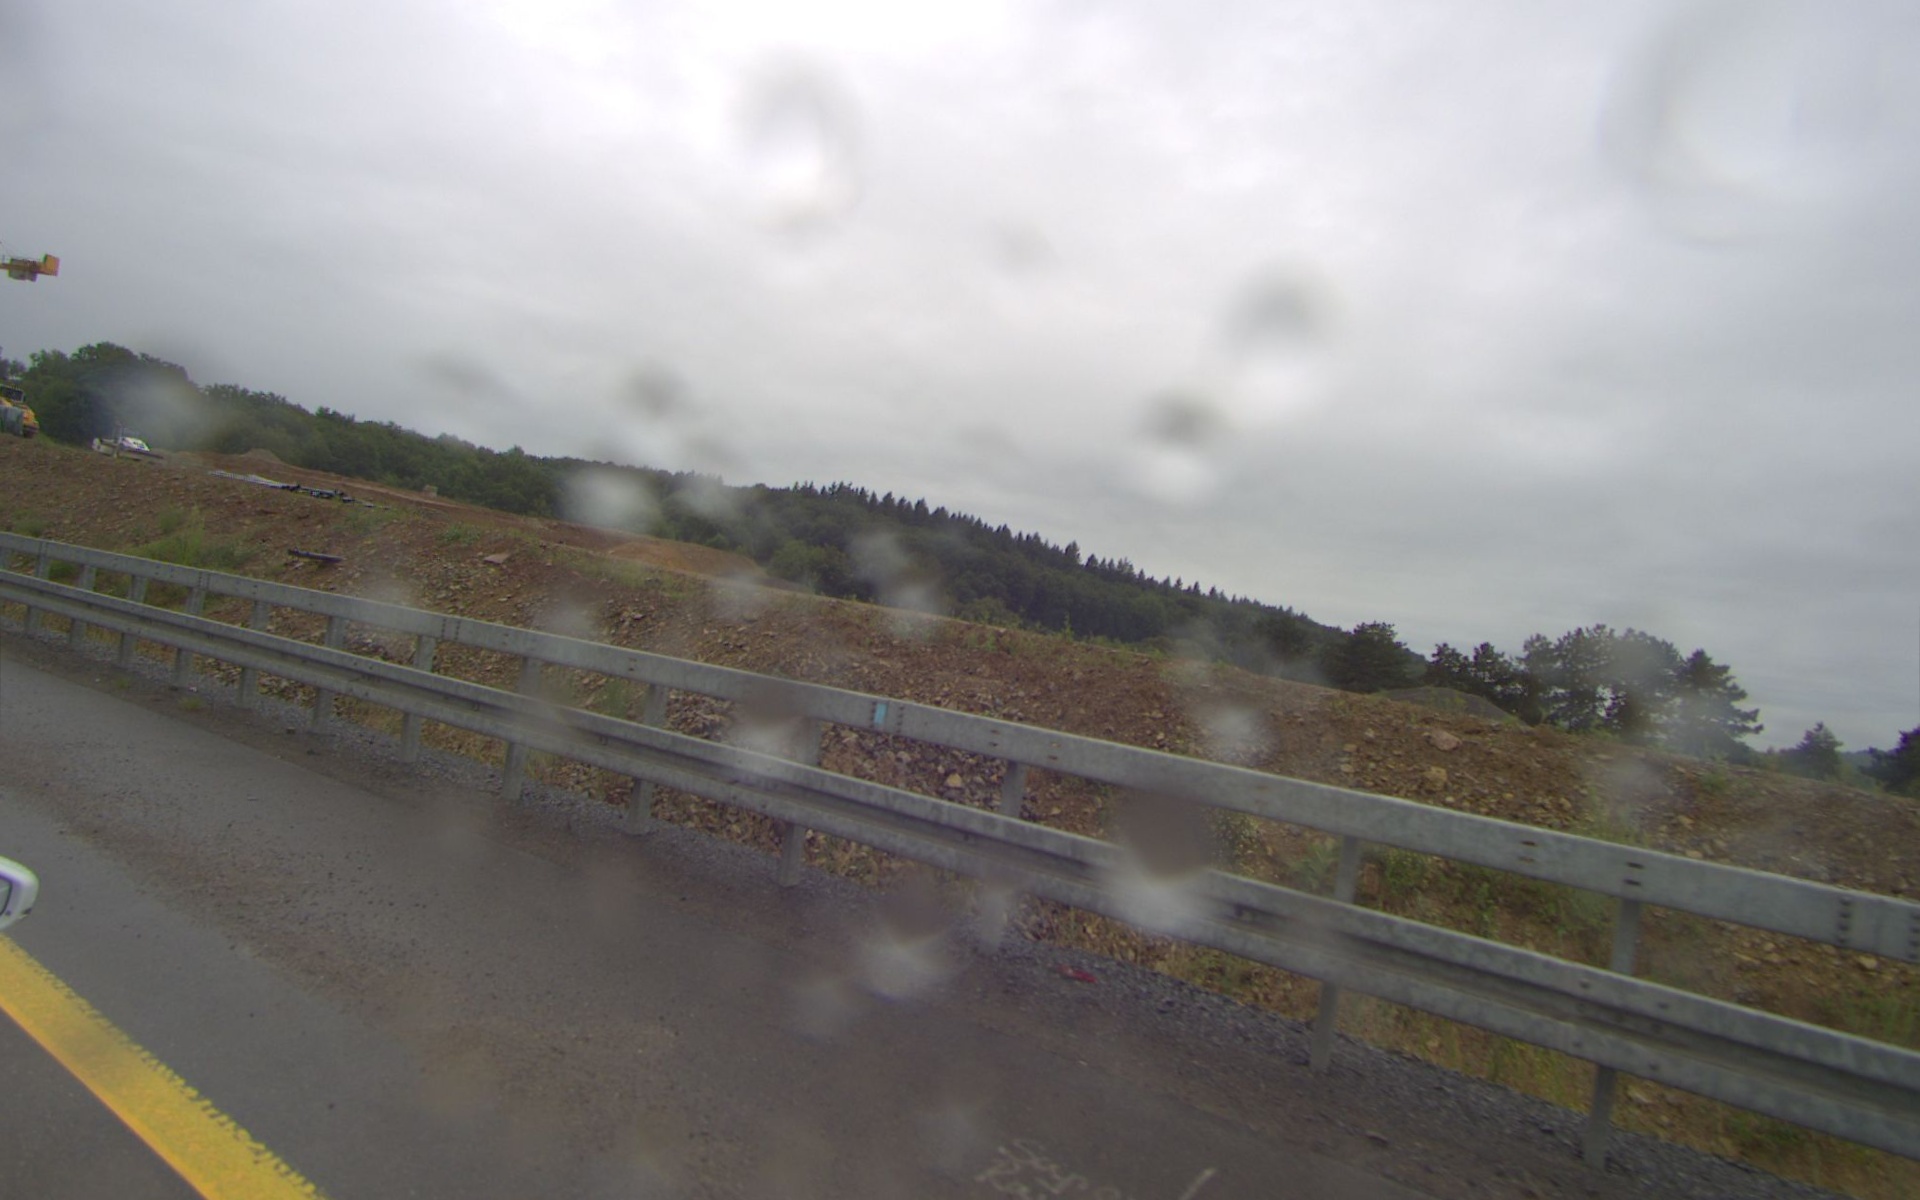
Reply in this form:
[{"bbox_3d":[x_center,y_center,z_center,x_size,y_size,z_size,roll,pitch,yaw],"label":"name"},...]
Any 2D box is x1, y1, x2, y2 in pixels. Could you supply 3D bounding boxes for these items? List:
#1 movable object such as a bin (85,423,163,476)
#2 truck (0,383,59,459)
[{"bbox_3d":[-69.031,-12.449,83.031,6.447,3.642,2.347,7,-1,28],"label":"movable object such as a bin"},{"bbox_3d":[-61.664,-11.692,65.521,5.878,4.267,2.378,7,-1,31],"label":"truck"}]
